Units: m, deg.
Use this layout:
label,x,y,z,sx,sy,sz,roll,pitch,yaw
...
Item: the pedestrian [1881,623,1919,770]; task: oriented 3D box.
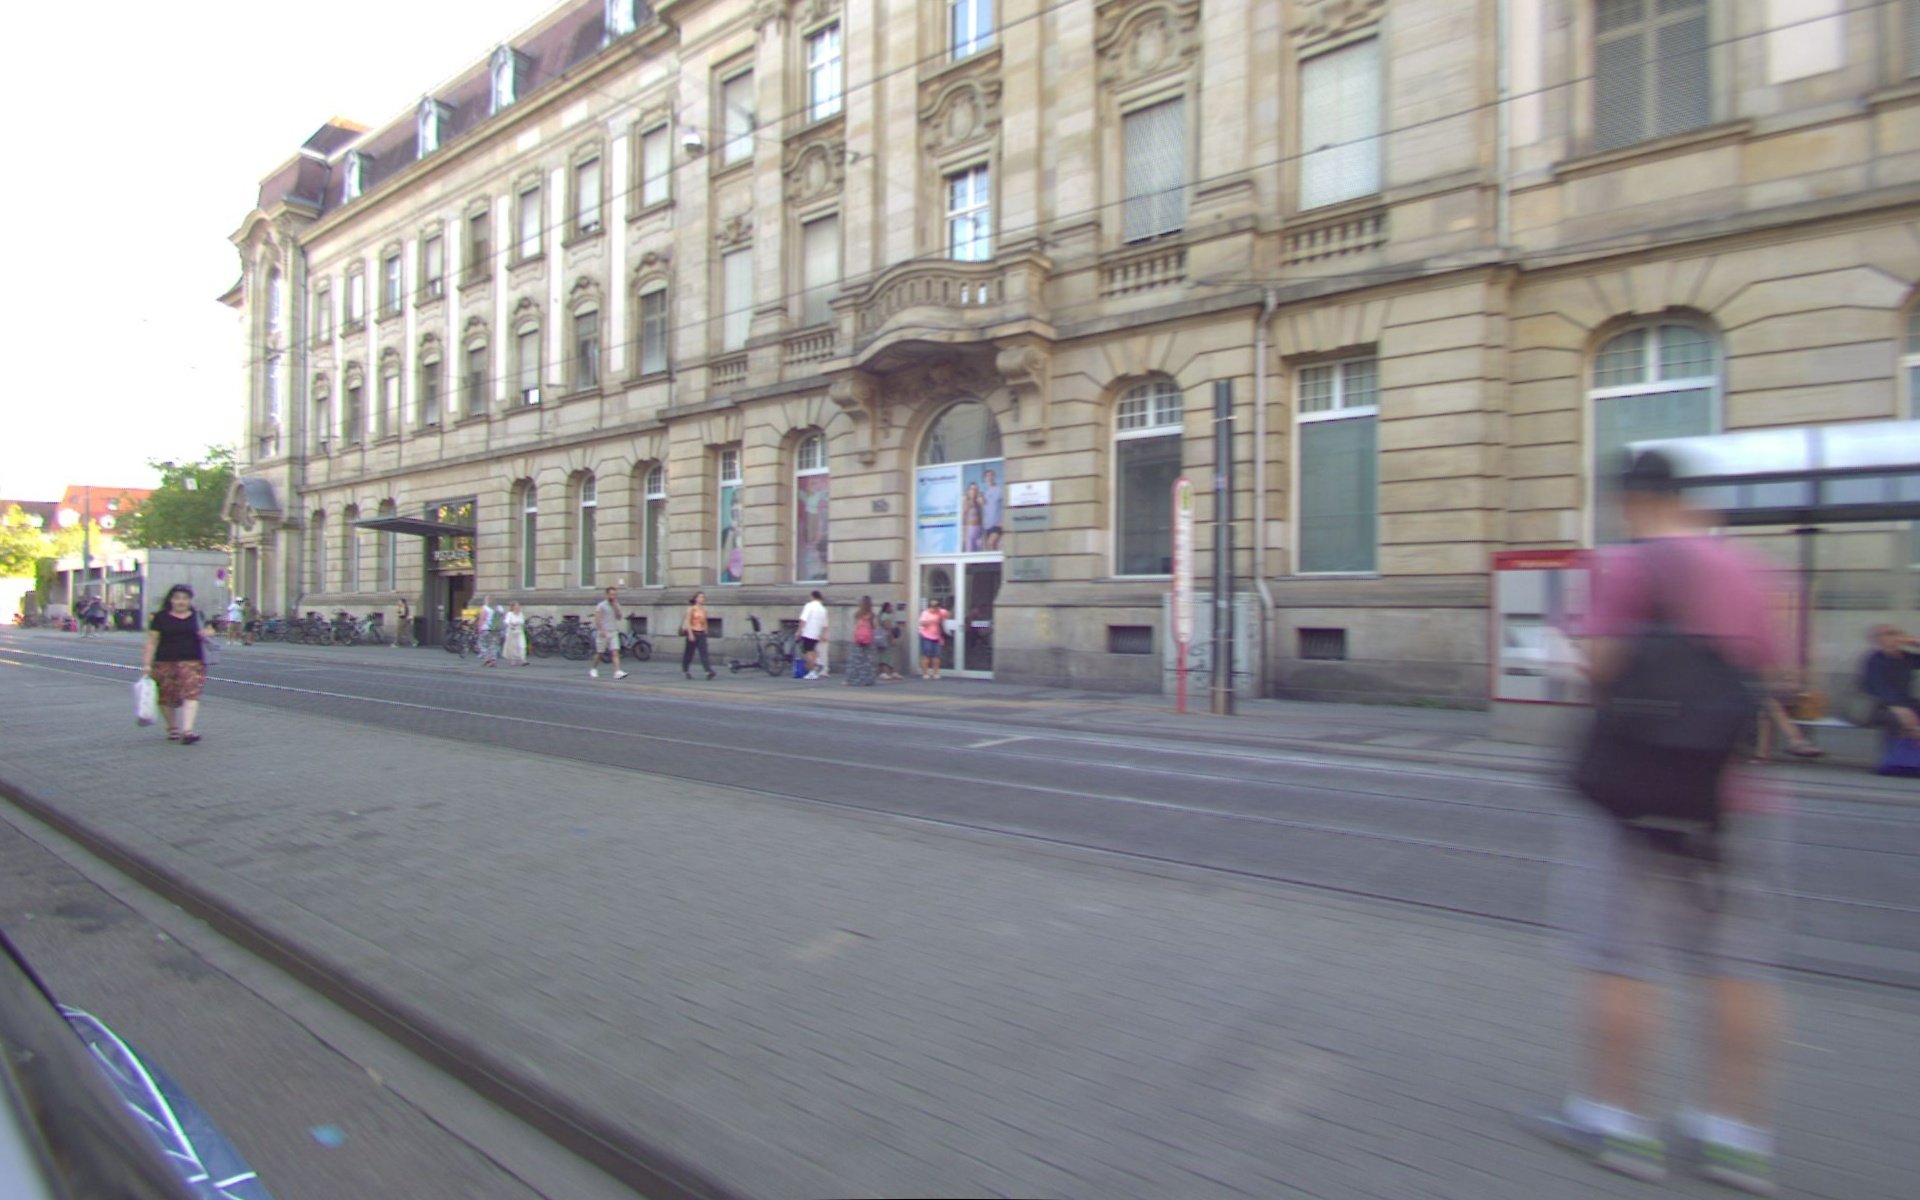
label,x,y,z,sx,sy,sz,roll,pitch,yaw
pedestrian,8.103,0.810,8.579,0.430,1.209,0.360,0,0,44

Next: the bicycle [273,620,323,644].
label,x,y,z,sx,sy,sz,roll,pitch,yaw
bicycle,-25.461,1.227,38.944,0.451,0.880,1.558,0,0,42

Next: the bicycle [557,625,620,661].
label,x,y,z,sx,sy,sz,roll,pitch,yaw
bicycle,-9.912,1.130,27.056,0.451,0.880,1.558,0,0,42

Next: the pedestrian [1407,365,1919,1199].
label,x,y,z,sx,sy,sz,roll,pitch,yaw
pedestrian,1.584,0.413,2.273,0.676,1.650,0.863,0,-1,-11

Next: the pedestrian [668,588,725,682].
label,x,y,z,sx,sy,sz,roll,pitch,yaw
pedestrian,-5.001,0.652,19.221,0.810,1.725,0.689,0,-1,23

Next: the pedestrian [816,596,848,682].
label,x,y,z,sx,sy,sz,roll,pitch,yaw
pedestrian,-2.542,0.759,20.036,0.331,1.654,0.606,0,0,-45

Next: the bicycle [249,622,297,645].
label,x,y,z,sx,sy,sz,roll,pitch,yaw
bicycle,-27.839,1.353,41.005,0.451,0.880,1.558,0,0,42

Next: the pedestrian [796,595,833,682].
label,x,y,z,sx,sy,sz,roll,pitch,yaw
pedestrian,-2.817,0.727,19.640,0.562,1.654,0.471,0,0,44

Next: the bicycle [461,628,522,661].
label,x,y,z,sx,sy,sz,roll,pitch,yaw
bicycle,-13.562,1.267,29.319,0.451,0.880,1.558,0,0,42

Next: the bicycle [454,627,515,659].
label,x,y,z,sx,sy,sz,roll,pitch,yaw
bicycle,-13.993,1.253,29.799,0.451,0.880,1.558,0,0,42

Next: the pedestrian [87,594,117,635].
label,x,y,z,sx,sy,sz,roll,pitch,yaw
pedestrian,-37.300,0.632,44.008,0.671,1.749,0.676,1,-2,4

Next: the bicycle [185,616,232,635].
label,x,y,z,sx,sy,sz,roll,pitch,yaw
bicycle,-37.568,1.256,50.600,0.634,0.875,1.818,0,0,36

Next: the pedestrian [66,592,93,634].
label,x,y,z,sx,sy,sz,roll,pitch,yaw
pedestrian,-37.702,0.560,43.319,0.669,1.749,0.484,2,-2,-18

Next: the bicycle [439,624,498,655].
label,x,y,z,sx,sy,sz,roll,pitch,yaw
bicycle,-14.809,1.181,30.533,0.451,0.880,1.558,0,0,42

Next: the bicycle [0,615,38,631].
label,x,y,z,sx,sy,sz,roll,pitch,yaw
bicycle,-66.878,1.632,71.813,0.691,1.168,2.105,-1,-1,39

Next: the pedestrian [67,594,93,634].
label,x,y,z,sx,sy,sz,roll,pitch,yaw
pedestrian,-38.291,0.617,44.043,0.592,1.749,0.643,0,-3,29

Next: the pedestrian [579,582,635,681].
label,x,y,z,sx,sy,sz,roll,pitch,yaw
pedestrian,-6.695,0.585,19.190,0.814,1.826,0.685,-1,-1,41

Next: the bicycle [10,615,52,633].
label,x,y,z,sx,sy,sz,roll,pitch,yaw
bicycle,-64.136,1.645,69.879,0.691,1.168,2.105,-1,-1,39

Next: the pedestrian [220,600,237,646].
label,x,y,z,sx,sy,sz,roll,pitch,yaw
pedestrian,-26.742,0.836,36.997,0.370,1.643,0.495,0,0,-18

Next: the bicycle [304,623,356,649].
label,x,y,z,sx,sy,sz,roll,pitch,yaw
bicycle,-23.025,1.296,36.984,0.451,0.880,1.558,0,0,42

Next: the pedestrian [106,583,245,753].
label,x,y,z,sx,sy,sz,roll,pitch,yaw
pedestrian,-7.474,0.612,9.647,0.900,1.512,0.838,0,-1,38

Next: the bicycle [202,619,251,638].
label,x,y,z,sx,sy,sz,roll,pitch,yaw
bicycle,-35.407,1.365,48.857,0.634,0.875,1.818,0,0,36

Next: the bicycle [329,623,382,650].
label,x,y,z,sx,sy,sz,roll,pitch,yaw
bicycle,-21.601,1.301,36.165,0.451,0.880,1.558,0,0,42

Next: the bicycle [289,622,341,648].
label,x,y,z,sx,sy,sz,roll,pitch,yaw
bicycle,-23.880,1.293,37.503,0.451,0.880,1.558,0,0,42

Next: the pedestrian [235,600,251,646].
label,x,y,z,sx,sy,sz,roll,pitch,yaw
pedestrian,-26.374,0.834,37.233,0.370,1.686,0.495,0,0,-19

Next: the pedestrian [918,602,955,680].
label,x,y,z,sx,sy,sz,roll,pitch,yaw
pedestrian,-0.455,0.791,19.798,0.589,1.501,0.538,0,0,15

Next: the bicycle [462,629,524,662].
label,x,y,z,sx,sy,sz,roll,pitch,yaw
bicycle,-13.175,1.273,28.575,0.451,0.880,1.558,0,0,42

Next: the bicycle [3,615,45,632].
label,x,y,z,sx,sy,sz,roll,pitch,yaw
bicycle,-65.718,1.641,71.079,0.691,1.168,2.105,-1,-1,39

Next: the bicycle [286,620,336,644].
label,x,y,z,sx,sy,sz,roll,pitch,yaw
bicycle,-24.743,1.217,38.597,0.451,0.880,1.558,0,0,42

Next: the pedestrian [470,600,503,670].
label,x,y,z,sx,sy,sz,roll,pitch,yaw
pedestrian,-10.738,0.780,22.968,0.650,1.573,0.682,0,-1,-25

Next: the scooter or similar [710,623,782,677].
label,x,y,z,sx,sy,sz,roll,pitch,yaw
scooter or similar,-4.579,1.054,21.712,0.451,1.076,1.530,0,0,42

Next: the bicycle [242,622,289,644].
label,x,y,z,sx,sy,sz,roll,pitch,yaw
bicycle,-28.542,1.349,41.599,0.451,0.880,1.558,0,0,42

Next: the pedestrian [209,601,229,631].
label,x,y,z,sx,sy,sz,roll,pitch,yaw
pedestrian,-38.498,0.833,52.582,0.678,1.573,0.654,0,-1,34

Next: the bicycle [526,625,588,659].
label,x,y,z,sx,sy,sz,roll,pitch,yaw
bicycle,-11.134,1.152,27.963,0.451,0.880,1.558,0,0,42

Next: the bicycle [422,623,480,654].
label,x,y,z,sx,sy,sz,roll,pitch,yaw
bicycle,-15.753,1.176,31.324,0.451,0.880,1.558,0,0,42

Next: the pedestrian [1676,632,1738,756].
label,x,y,z,sx,sy,sz,roll,pitch,yaw
pedestrian,7.051,0.873,9.555,0.430,1.111,0.360,0,0,44

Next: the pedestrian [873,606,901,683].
label,x,y,z,sx,sy,sz,roll,pitch,yaw
pedestrian,-1.407,0.838,19.423,0.433,1.450,0.573,0,0,-16

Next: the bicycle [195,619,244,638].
label,x,y,z,sx,sy,sz,roll,pitch,yaw
bicycle,-36.015,1.363,49.252,0.634,0.875,1.818,0,0,36

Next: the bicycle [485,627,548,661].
label,x,y,z,sx,sy,sz,roll,pitch,yaw
bicycle,-12.414,1.211,28.353,0.451,0.880,1.558,0,0,42

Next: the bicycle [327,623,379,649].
label,x,y,z,sx,sy,sz,roll,pitch,yaw
bicycle,-22.037,1.297,36.774,0.451,0.880,1.558,0,0,42

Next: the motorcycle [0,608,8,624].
label,x,y,z,sx,sy,sz,roll,pitch,yaw
motorcycle,-75.444,1.286,78.855,0.796,1.247,1.777,0,0,4

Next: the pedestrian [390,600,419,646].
label,x,y,z,sx,sy,sz,roll,pitch,yaw
pedestrian,-19.133,0.777,34.846,0.726,1.544,0.779,1,-1,-41

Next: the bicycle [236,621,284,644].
label,x,y,z,sx,sy,sz,roll,pitch,yaw
bicycle,-28.982,1.347,41.909,0.451,0.880,1.558,0,0,42

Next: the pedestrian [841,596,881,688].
label,x,y,z,sx,sy,sz,roll,pitch,yaw
pedestrian,-1.754,0.733,17.980,0.568,1.617,0.437,0,0,23

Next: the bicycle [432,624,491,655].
label,x,y,z,sx,sy,sz,roll,pitch,yaw
bicycle,-15.228,1.197,30.947,0.451,0.880,1.558,0,0,42

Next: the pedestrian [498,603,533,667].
label,x,y,z,sx,sy,sz,roll,pitch,yaw
pedestrian,-10.537,0.818,24.000,0.682,1.477,0.558,0,-1,-17

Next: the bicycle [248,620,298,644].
label,x,y,z,sx,sy,sz,roll,pitch,yaw
bicycle,-27.283,1.274,40.207,0.451,0.880,1.558,0,0,42

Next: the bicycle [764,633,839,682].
label,x,y,z,sx,sy,sz,roll,pitch,yaw
bicycle,-3.159,1.132,20.301,0.451,0.880,1.558,0,0,42

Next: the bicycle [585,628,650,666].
label,x,y,z,sx,sy,sz,roll,pitch,yaw
bicycle,-8.656,1.171,25.625,0.451,0.880,1.558,0,0,42

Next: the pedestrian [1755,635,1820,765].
label,x,y,z,sx,sy,sz,roll,pitch,yaw
pedestrian,7.414,0.876,9.069,0.430,1.111,0.360,0,0,44
